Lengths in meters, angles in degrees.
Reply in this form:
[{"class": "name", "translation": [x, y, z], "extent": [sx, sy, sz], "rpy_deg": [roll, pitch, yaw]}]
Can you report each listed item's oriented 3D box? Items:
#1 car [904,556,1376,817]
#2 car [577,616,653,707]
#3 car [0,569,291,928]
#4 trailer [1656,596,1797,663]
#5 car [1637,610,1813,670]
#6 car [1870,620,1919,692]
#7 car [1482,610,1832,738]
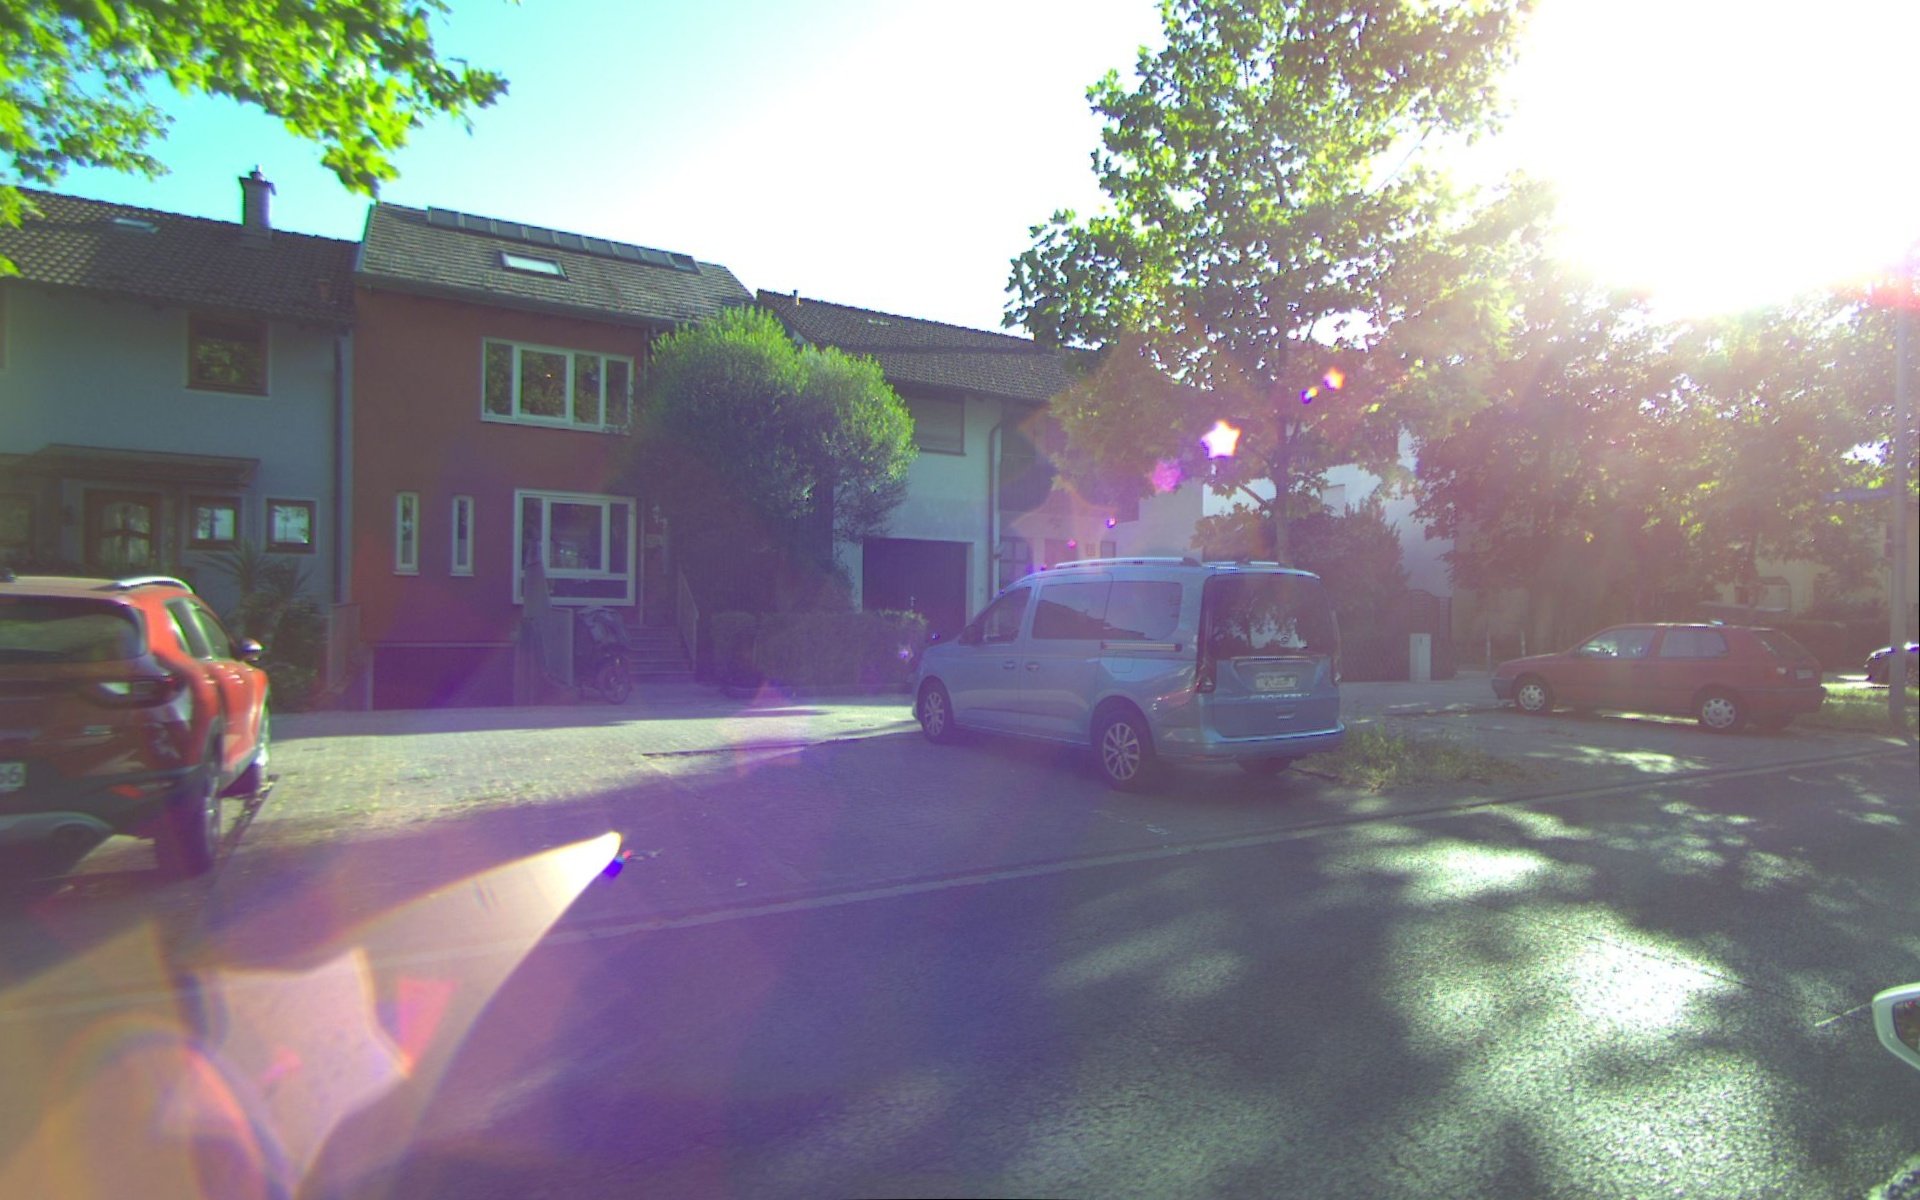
[{"class": "car", "translation": [1.392, 0.600, 9.501], "extent": [1.973, 1.848, 4.361], "rpy_deg": [1, 0, -32]}, {"class": "car", "translation": [-4.711, 0.802, 13.673], "extent": [0.692, 1.131, 1.507], "rpy_deg": [1, 0, -30]}, {"class": "car", "translation": [-5.076, 0.625, 5.820], "extent": [1.761, 1.537, 3.624], "rpy_deg": [1, 0, -30]}, {"class": "trailer", "translation": [26.499, 0.959, 34.829], "extent": [1.623, 1.952, 3.437], "rpy_deg": [0, 4, -29]}, {"class": "car", "translation": [24.450, 1.236, 32.268], "extent": [1.975, 1.497, 3.971], "rpy_deg": [1, 3, -27]}, {"class": "car", "translation": [21.999, 1.235, 21.060], "extent": [1.796, 1.538, 3.969], "rpy_deg": [1, 0, -30]}, {"class": "car", "translation": [9.927, 0.957, 14.605], "extent": [1.647, 1.538, 3.850], "rpy_deg": [2, 0, -32]}]
